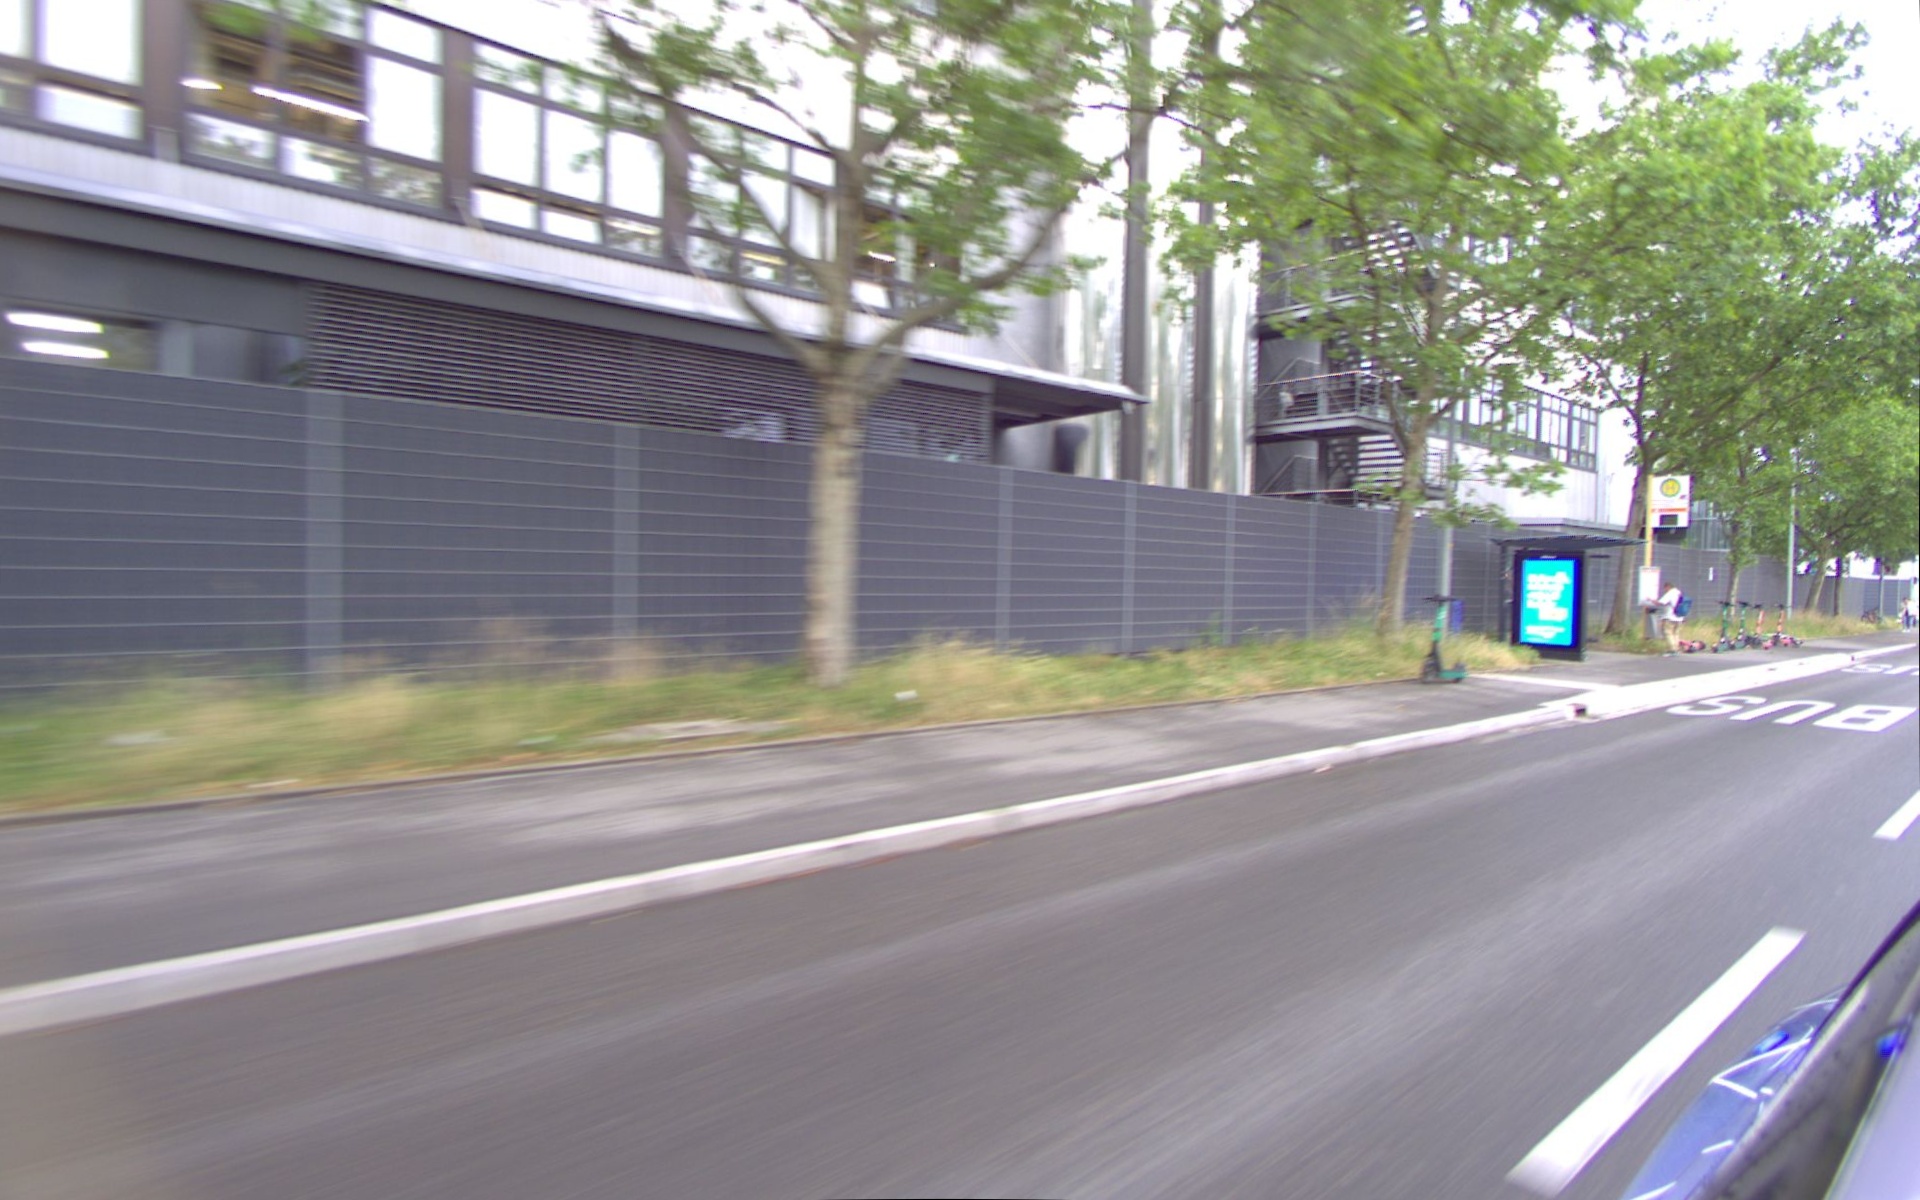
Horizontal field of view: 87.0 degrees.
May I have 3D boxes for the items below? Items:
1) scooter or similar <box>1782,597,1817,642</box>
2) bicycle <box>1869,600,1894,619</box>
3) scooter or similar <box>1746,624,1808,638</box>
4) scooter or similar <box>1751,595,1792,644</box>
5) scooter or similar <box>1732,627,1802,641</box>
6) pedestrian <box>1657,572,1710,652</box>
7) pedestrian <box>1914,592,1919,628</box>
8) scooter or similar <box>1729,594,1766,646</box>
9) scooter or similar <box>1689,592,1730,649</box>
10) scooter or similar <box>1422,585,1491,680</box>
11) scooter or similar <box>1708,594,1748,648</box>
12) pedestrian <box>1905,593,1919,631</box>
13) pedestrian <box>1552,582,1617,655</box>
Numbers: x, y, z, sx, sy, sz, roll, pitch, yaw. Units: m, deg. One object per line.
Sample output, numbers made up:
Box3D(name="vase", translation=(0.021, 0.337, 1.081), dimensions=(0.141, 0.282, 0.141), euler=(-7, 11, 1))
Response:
Box3D(name="scooter or similar", translation=(25.039, 0.585, 30.181), dimensions=(1.275, 1.301, 0.437), euler=(0, 1, -33))
Box3D(name="bicycle", translation=(45.284, 0.446, 49.730), dimensions=(1.872, 0.886, 0.727), euler=(-1, 1, -42))
Box3D(name="scooter or similar", translation=(25.431, 0.954, 31.535), dimensions=(1.169, 0.314, 1.194), euler=(2, 2, 22))
Box3D(name="scooter or similar", translation=(22.184, 0.520, 27.669), dimensions=(1.340, 1.311, 0.437), euler=(0, 1, -33))
Box3D(name="scooter or similar", translation=(23.692, 0.993, 29.730), dimensions=(1.231, 0.349, 1.104), euler=(1, 2, -17))
Box3D(name="pedestrian", translation=(16.278, 0.257, 22.767), dimensions=(0.717, 1.731, 0.777), euler=(0, 1, -41))
Box3D(name="pedestrian", translation=(45.309, 0.489, 47.422), dimensions=(0.819, 1.686, 0.723), euler=(0, 4, -41))
Box3D(name="scooter or similar", translation=(20.641, 0.513, 26.525), dimensions=(1.276, 1.311, 0.437), euler=(0, 2, -38))
Box3D(name="scooter or similar", translation=(17.974, 0.478, 24.263), dimensions=(1.276, 1.311, 0.437), euler=(0, 2, -38))
Box3D(name="scooter or similar", translation=(7.162, 0.451, 14.589), dimensions=(1.222, 1.324, 0.330), euler=(0, 1, -36))
Box3D(name="scooter or similar", translation=(19.074, 0.509, 25.126), dimensions=(1.276, 1.311, 0.437), euler=(0, 2, -38))
Box3D(name="pedestrian", translation=(42.875, 0.553, 45.279), dimensions=(0.819, 1.639, 0.723), euler=(0, 4, -41))
Box3D(name="pedestrian", translation=(12.764, 0.358, 20.700), dimensions=(0.686, 1.433, 0.932), euler=(0, 2, -41))
